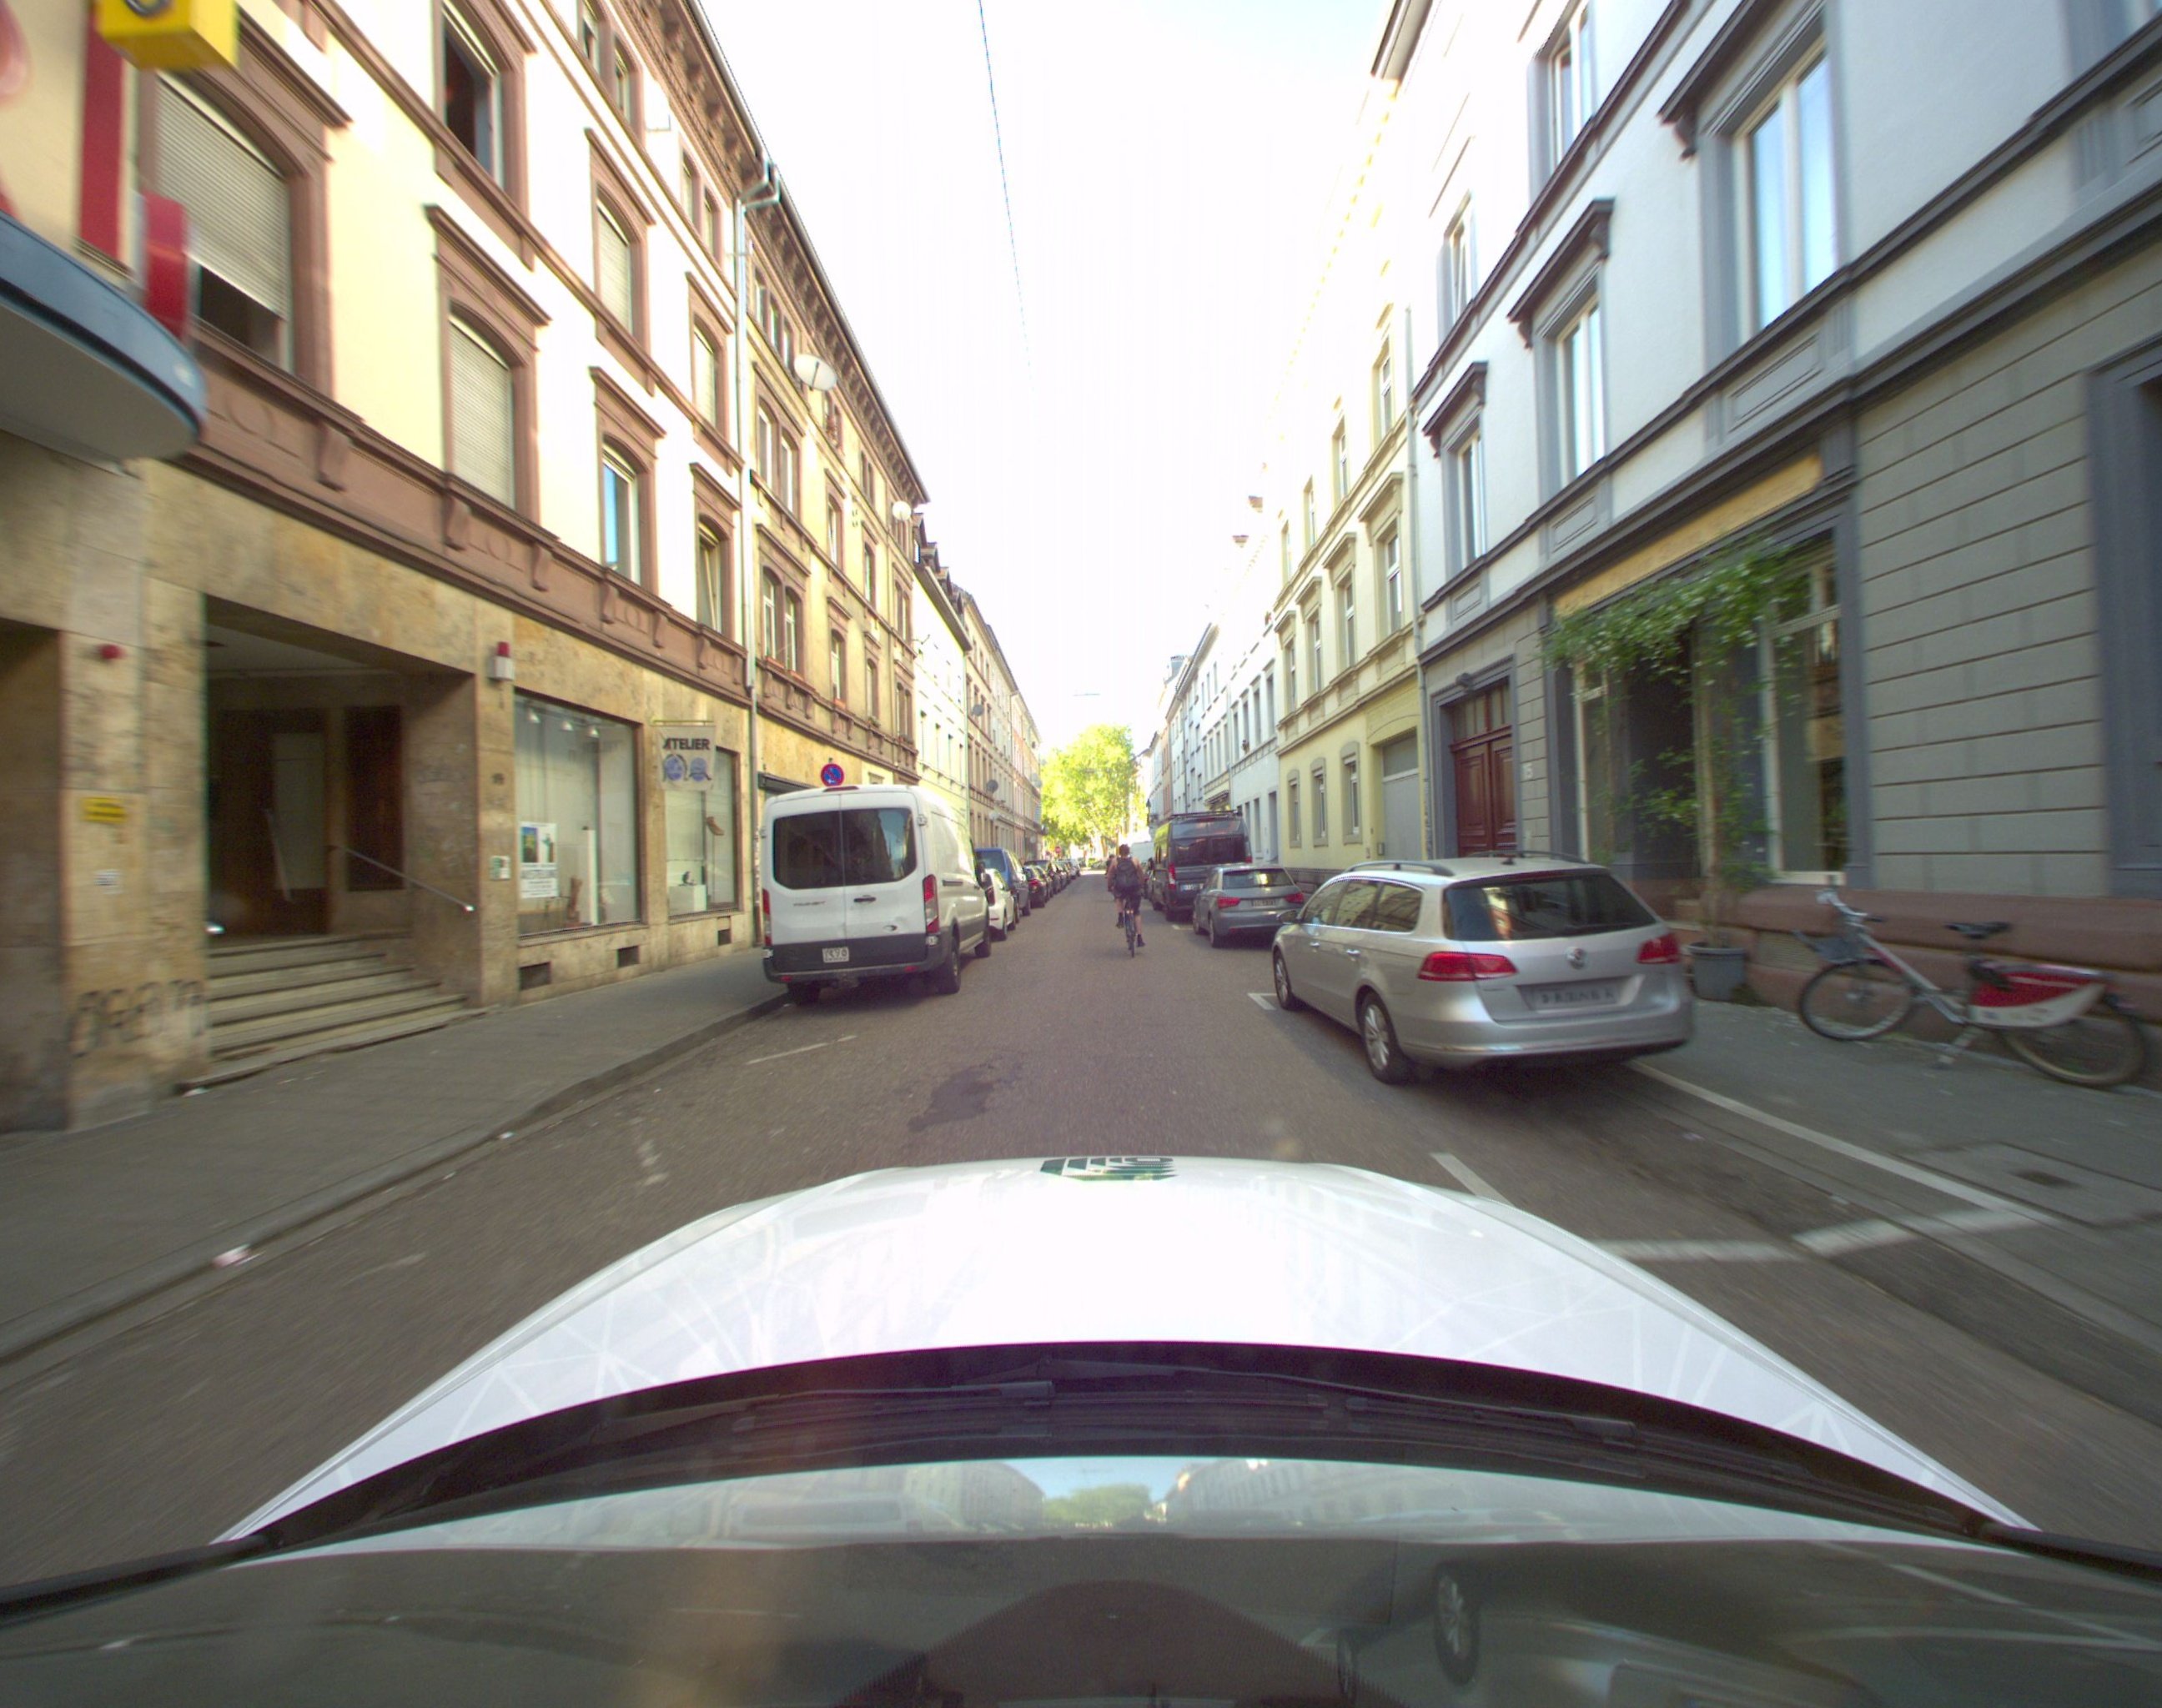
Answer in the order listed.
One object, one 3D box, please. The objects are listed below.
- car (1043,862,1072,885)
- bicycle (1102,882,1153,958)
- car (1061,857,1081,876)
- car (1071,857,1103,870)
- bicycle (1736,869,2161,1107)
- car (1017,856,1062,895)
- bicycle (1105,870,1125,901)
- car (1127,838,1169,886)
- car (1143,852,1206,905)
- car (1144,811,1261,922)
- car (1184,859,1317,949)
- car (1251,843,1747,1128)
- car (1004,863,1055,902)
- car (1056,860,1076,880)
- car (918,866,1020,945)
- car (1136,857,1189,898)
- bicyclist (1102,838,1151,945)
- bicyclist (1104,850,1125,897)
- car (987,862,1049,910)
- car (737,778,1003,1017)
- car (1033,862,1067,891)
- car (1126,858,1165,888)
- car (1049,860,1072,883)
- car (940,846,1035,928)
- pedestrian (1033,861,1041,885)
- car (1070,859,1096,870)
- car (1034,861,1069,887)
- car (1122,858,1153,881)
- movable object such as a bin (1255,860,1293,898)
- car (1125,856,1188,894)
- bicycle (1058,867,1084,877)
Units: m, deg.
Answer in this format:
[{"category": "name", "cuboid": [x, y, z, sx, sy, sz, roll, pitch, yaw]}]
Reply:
[{"category": "car", "cuboid": [-1.542, 1.278, 55.156, 1.700, 1.414, 4.303, -3, 0, 1]}, {"category": "bicycle", "cuboid": [0.739, 1.039, 13.485, 0.737, 1.100, 2.042, -1, 0, 1]}, {"category": "car", "cuboid": [-0.979, 1.213, 79.694, 1.781, 1.737, 3.876, -3, 0, 1]}, {"category": "car", "cuboid": [0.859, 1.375, 118.797, 4.459, 1.759, 1.864, -3, 0, -4]}, {"category": "bicycle", "cuboid": [5.161, 0.674, 4.956, 0.708, 1.097, 1.900, -5, -1, -1]}, {"category": "car", "cuboid": [-1.992, 1.038, 40.145, 1.794, 1.698, 4.001, -5, -1, 1]}, {"category": "bicycle", "cuboid": [1.228, 1.122, 29.723, 0.661, 1.037, 1.959, -3, 0, 1]}, {"category": "car", "cuboid": [3.912, 0.451, 48.482, 2.195, 2.551, 6.041, -3, 0, 3]}, {"category": "car", "cuboid": [3.175, 0.803, 28.451, 1.688, 1.608, 4.375, -4, 0, 1]}, {"category": "car", "cuboid": [3.043, 0.314, 21.961, 2.168, 2.425, 6.309, -4, 0, 1]}, {"category": "car", "cuboid": [3.090, 0.846, 15.647, 1.741, 1.444, 4.173, -2, 0, 1]}, {"category": "car", "cuboid": [2.832, 0.752, 6.865, 1.780, 1.454, 4.547, -5, 0, 0]}, {"category": "car", "cuboid": [-2.094, 1.134, 34.184, 1.730, 1.427, 4.001, -3, 0, 1]}, {"category": "car", "cuboid": [-1.255, 1.278, 67.491, 1.540, 1.550, 3.462, -3, 0, -2]}, {"category": "car", "cuboid": [-2.332, 1.033, 17.832, 1.640, 1.447, 3.838, -3, 0, 0]}, {"category": "car", "cuboid": [3.260, 0.912, 33.202, 1.740, 1.485, 4.243, -3, 0, 1]}, {"category": "bicyclist", "cuboid": [0.735, 0.589, 13.358, 0.737, 1.679, 1.116, -1, -1, 1]}, {"category": "bicyclist", "cuboid": [1.212, 0.708, 29.656, 0.667, 1.658, 0.877, -3, -1, 1]}, {"category": "car", "cuboid": [-2.155, 1.075, 29.122, 1.856, 1.440, 4.643, -3, 0, -1]}, {"category": "car", "cuboid": [-2.575, 0.481, 11.784, 2.161, 2.452, 5.920, -4, 0, 0]}, {"category": "car", "cuboid": [-1.683, 1.224, 45.119, 1.586, 1.440, 3.655, -3, 0, 2]}, {"category": "car", "cuboid": [3.366, 0.976, 43.038, 1.719, 1.429, 3.831, -3, 0, 0]}, {"category": "car", "cuboid": [-1.491, 1.255, 60.117, 1.600, 1.530, 3.378, -4, 0, -1]}, {"category": "car", "cuboid": [-2.442, 0.826, 22.432, 1.821, 1.891, 4.615, -5, 0, 1]}, {"category": "pedestrian", "cuboid": [-3.432, 1.480, 63.693, 0.608, 1.858, 0.754, 0, -1, 0]}, {"category": "car", "cuboid": [0.319, 1.886, 144.366, 4.459, 1.696, 1.864, -3, 0, -4]}, {"category": "car", "cuboid": [-1.773, 1.209, 50.098, 1.666, 1.430, 3.892, -3, 0, 3]}, {"category": "car", "cuboid": [3.776, 1.017, 55.009, 1.726, 1.470, 4.018, -3, 0, -1]}, {"category": "movable object such as a bin", "cuboid": [5.718, 0.733, 24.206, 0.860, 1.042, 0.707, -5, 0, -1]}, {"category": "car", "cuboid": [3.450, 0.922, 37.984, 1.810, 1.478, 4.595, -5, 0, -8]}, {"category": "bicycle", "cuboid": [-1.097, 1.981, 89.374, 2.708, 0.892, 0.618, -3, -1, -2]}]
